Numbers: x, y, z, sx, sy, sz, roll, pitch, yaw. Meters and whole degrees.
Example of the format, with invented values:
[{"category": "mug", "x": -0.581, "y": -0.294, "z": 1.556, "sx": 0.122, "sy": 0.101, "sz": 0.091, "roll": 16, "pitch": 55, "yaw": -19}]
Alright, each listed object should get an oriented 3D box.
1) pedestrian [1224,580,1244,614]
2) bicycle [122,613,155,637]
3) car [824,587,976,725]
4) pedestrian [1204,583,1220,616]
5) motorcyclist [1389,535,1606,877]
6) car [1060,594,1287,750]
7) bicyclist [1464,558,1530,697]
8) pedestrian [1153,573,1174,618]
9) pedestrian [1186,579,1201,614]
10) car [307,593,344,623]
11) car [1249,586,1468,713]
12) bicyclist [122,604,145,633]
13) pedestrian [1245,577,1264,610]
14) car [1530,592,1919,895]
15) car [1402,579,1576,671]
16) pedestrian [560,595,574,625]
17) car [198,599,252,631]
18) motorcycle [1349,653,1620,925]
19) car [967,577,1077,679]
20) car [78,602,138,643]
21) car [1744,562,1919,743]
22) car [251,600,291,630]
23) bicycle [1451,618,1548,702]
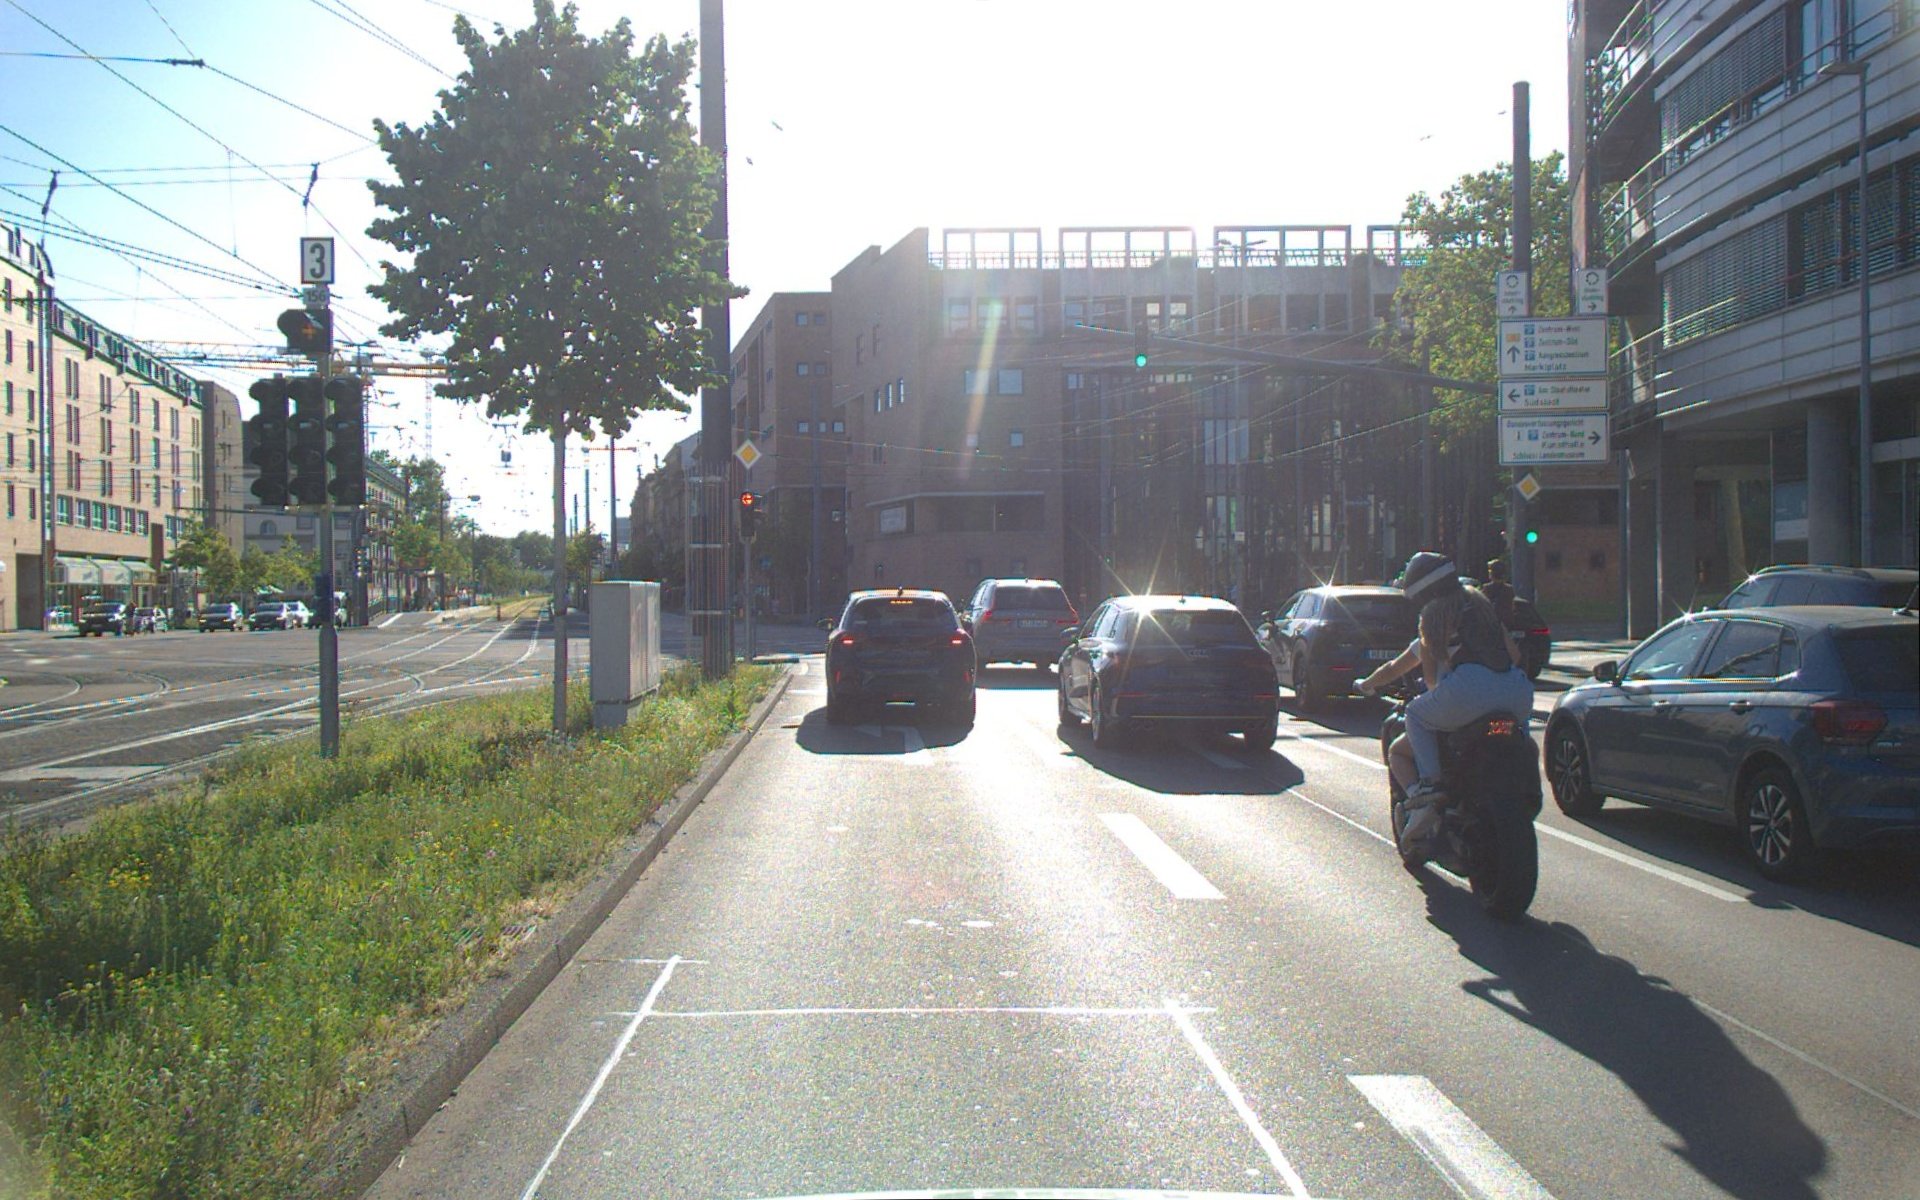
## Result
[{"category": "pedestrian", "x": 13.403, "y": -0.136, "z": 80.883, "sx": 0.881, "sy": 1.645, "sz": 0.561, "roll": -1, "pitch": 0, "yaw": 6}, {"category": "bicycle", "x": -40.463, "y": 1.231, "z": 81.498, "sx": 0.638, "sy": 1.104, "sz": 2.919, "roll": -1, "pitch": 0, "yaw": -10}, {"category": "car", "x": -0.693, "y": 0.585, "z": 19.692, "sx": 1.616, "sy": 1.458, "sz": 3.999, "roll": -1, "pitch": 0, "yaw": -2}, {"category": "pedestrian", "x": 12.599, "y": -0.040, "z": 82.791, "sx": 0.722, "sy": 1.645, "sz": 0.561, "roll": -1, "pitch": 0, "yaw": 6}, {"category": "motorcyclist", "x": 2.592, "y": 0.480, "z": 8.081, "sx": 0.729, "sy": 1.557, "sz": 1.021, "roll": -1, "pitch": 0, "yaw": 1}, {"category": "car", "x": 2.052, "y": 0.639, "z": 16.936, "sx": 1.702, "sy": 1.373, "sz": 3.999, "roll": -1, "pitch": 0, "yaw": -2}, {"category": "bicyclist", "x": 7.196, "y": 0.354, "z": 22.175, "sx": 0.565, "sy": 1.822, "sz": 0.863, "roll": -1, "pitch": 0, "yaw": -1}, {"category": "pedestrian", "x": 8.183, "y": -0.169, "z": 66.354, "sx": 0.692, "sy": 1.789, "sz": 0.560, "roll": -1, "pitch": 0, "yaw": 23}, {"category": "pedestrian", "x": 9.804, "y": -0.155, "z": 69.424, "sx": 0.519, "sy": 1.455, "sz": 0.598, "roll": -1, "pitch": 0, "yaw": -3}, {"category": "car", "x": -34.325, "y": 0.417, "z": 89.521, "sx": 1.719, "sy": 1.531, "sz": 3.858, "roll": -1, "pitch": 1, "yaw": -20}, {"category": "car", "x": 5.038, "y": 0.563, "z": 21.465, "sx": 1.771, "sy": 1.482, "sz": 3.999, "roll": 0, "pitch": 0, "yaw": -2}, {"category": "bicyclist", "x": -40.421, "y": 0.884, "z": 80.867, "sx": 0.743, "sy": 1.399, "sz": 0.948, "roll": -1, "pitch": 0, "yaw": -10}, {"category": "pedestrian", "x": 14.606, "y": -0.324, "z": 82.034, "sx": 0.881, "sy": 1.645, "sz": 0.561, "roll": -1, "pitch": 0, "yaw": 6}, {"category": "car", "x": 5.143, "y": 0.704, "z": 10.202, "sx": 1.771, "sy": 1.482, "sz": 3.999, "roll": 0, "pitch": 0, "yaw": -2}, {"category": "car", "x": 9.272, "y": 0.385, "z": 29.342, "sx": 1.952, "sy": 1.444, "sz": 4.002, "roll": 1, "pitch": 1, "yaw": 3}, {"category": "pedestrian", "x": -22.036, "y": 0.571, "z": 92.818, "sx": 0.730, "sy": 1.669, "sz": 0.764, "roll": -1, "pitch": 0, "yaw": -16}, {"category": "car", "x": -40.009, "y": 0.800, "z": 90.121, "sx": 1.961, "sy": 1.624, "sz": 4.718, "roll": -1, "pitch": 1, "yaw": -16}, {"category": "motorcycle", "x": 2.602, "y": 0.886, "z": 8.456, "sx": 0.759, "sy": 1.135, "sz": 1.969, "roll": -1, "pitch": 0, "yaw": 0}, {"category": "car", "x": 1.050, "y": 0.454, "z": 29.597, "sx": 1.702, "sy": 1.680, "sz": 3.999, "roll": -1, "pitch": 0, "yaw": -2}, {"category": "car", "x": -44.647, "y": 1.158, "z": 86.751, "sx": 1.961, "sy": 2.049, "sz": 3.983, "roll": -1, "pitch": 0, "yaw": -16}, {"category": "car", "x": 10.156, "y": 0.487, "z": 18.322, "sx": 1.951, "sy": 1.780, "sz": 4.332, "roll": -1, "pitch": 1, "yaw": 16}, {"category": "car", "x": -36.965, "y": 0.771, "z": 88.807, "sx": 1.719, "sy": 1.531, "sz": 3.858, "roll": -1, "pitch": 1, "yaw": -20}, {"category": "bicycle", "x": 7.195, "y": 0.776, "z": 22.156, "sx": 0.482, "sy": 1.015, "sz": 2.327, "roll": -1, "pitch": 1, "yaw": -1}]
